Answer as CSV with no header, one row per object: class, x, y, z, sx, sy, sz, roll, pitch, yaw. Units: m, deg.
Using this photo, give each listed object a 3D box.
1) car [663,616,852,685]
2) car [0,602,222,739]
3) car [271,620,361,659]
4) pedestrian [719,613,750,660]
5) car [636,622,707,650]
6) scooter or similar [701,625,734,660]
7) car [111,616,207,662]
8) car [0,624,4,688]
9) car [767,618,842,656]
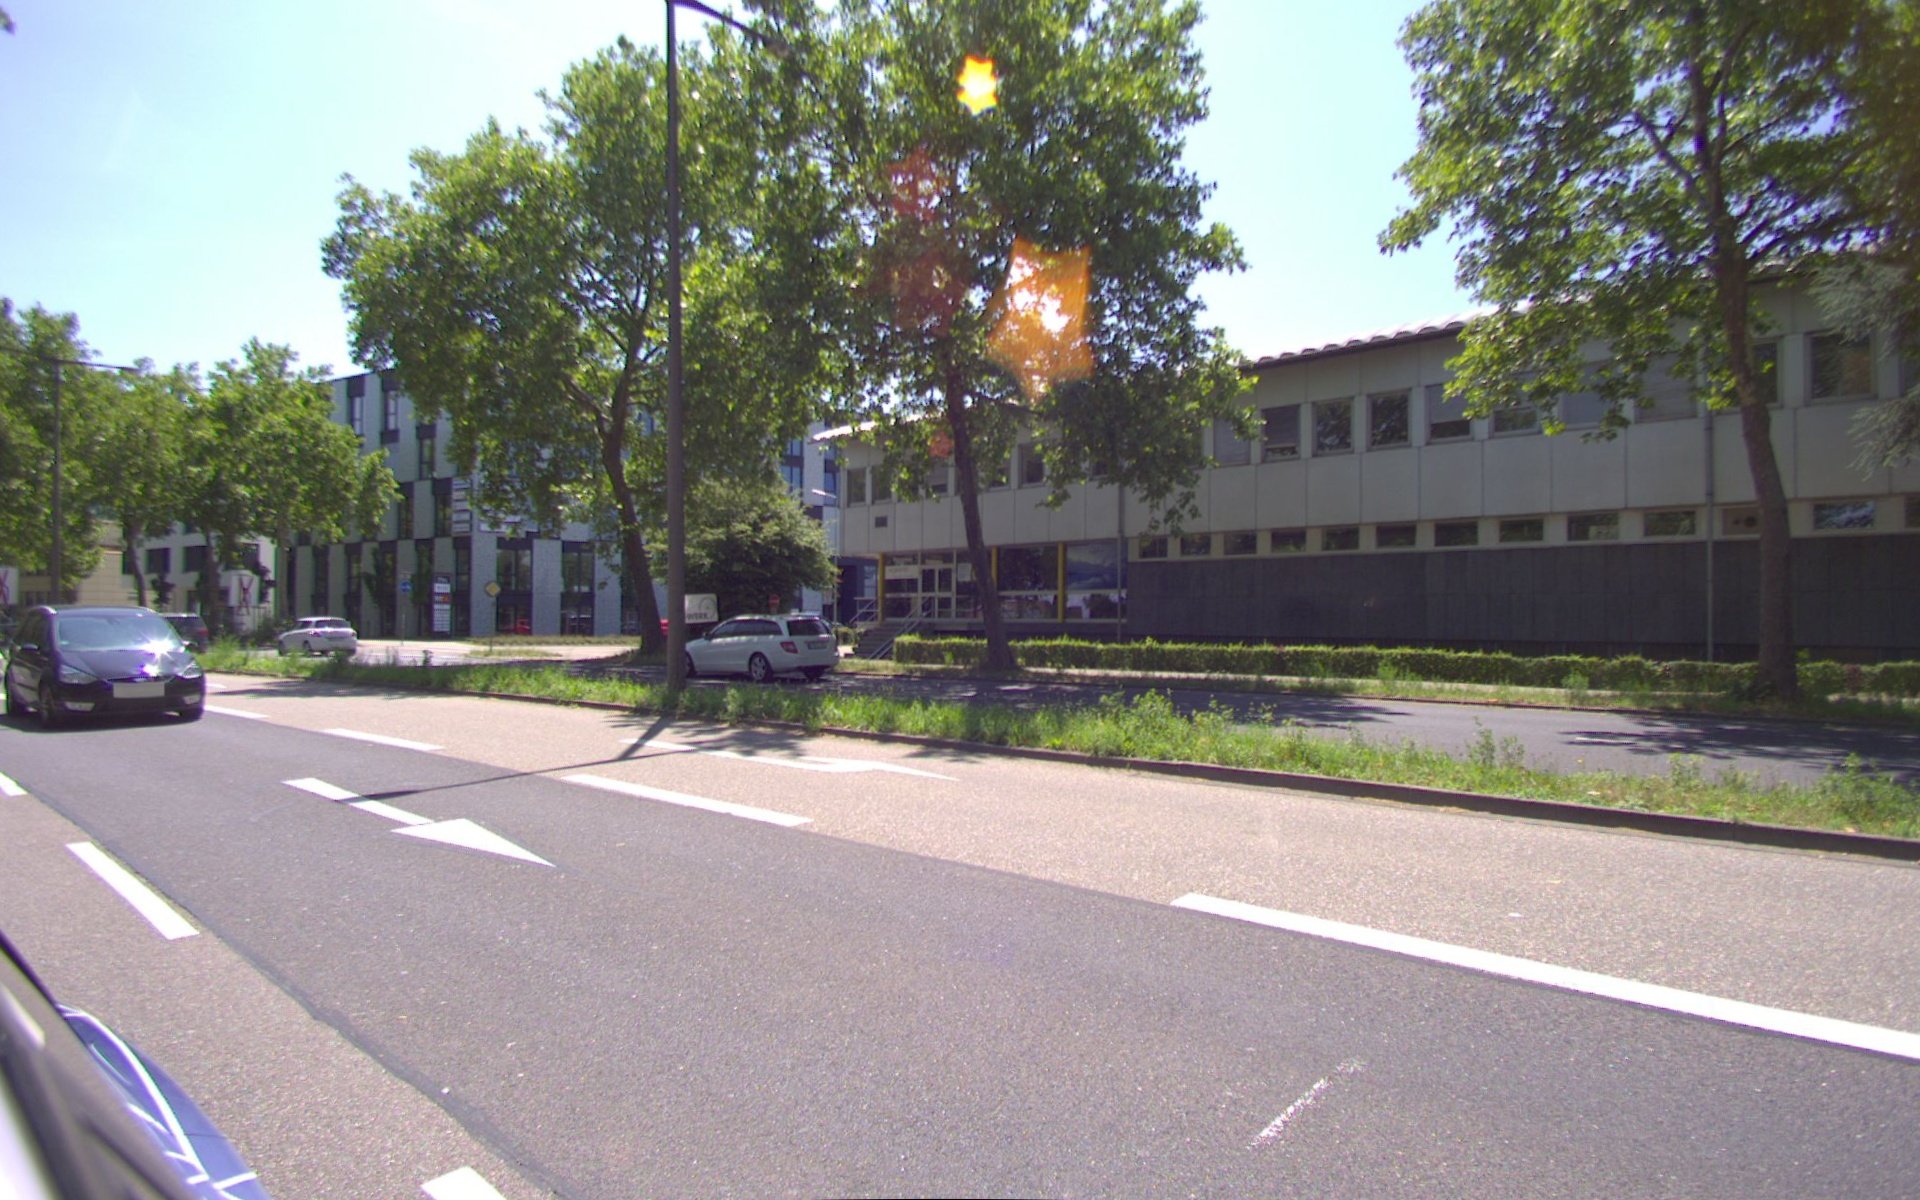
car,-4.721,1.112,23.232,4.543,1.429,1.835,-1,-2,40
car,-12.907,0.958,15.284,4.645,1.769,1.835,-1,-1,41
car,-25.047,1.511,39.315,3.666,1.470,1.716,-1,-2,36
pedestrian,-7.600,1.222,34.099,0.789,1.572,0.636,-1,-2,35
car,-16.113,1.997,56.588,3.477,1.472,1.679,1,-2,-43
scooter or similar,-8.280,1.443,34.564,0.857,1.172,0.672,-1,-2,35
car,-30.951,1.478,39.054,4.615,1.668,1.930,-1,-2,39
car,-23.692,1.284,23.422,3.644,1.456,1.604,-1,-2,36
car,-7.449,1.734,48.345,3.528,1.660,1.795,-1,0,44
